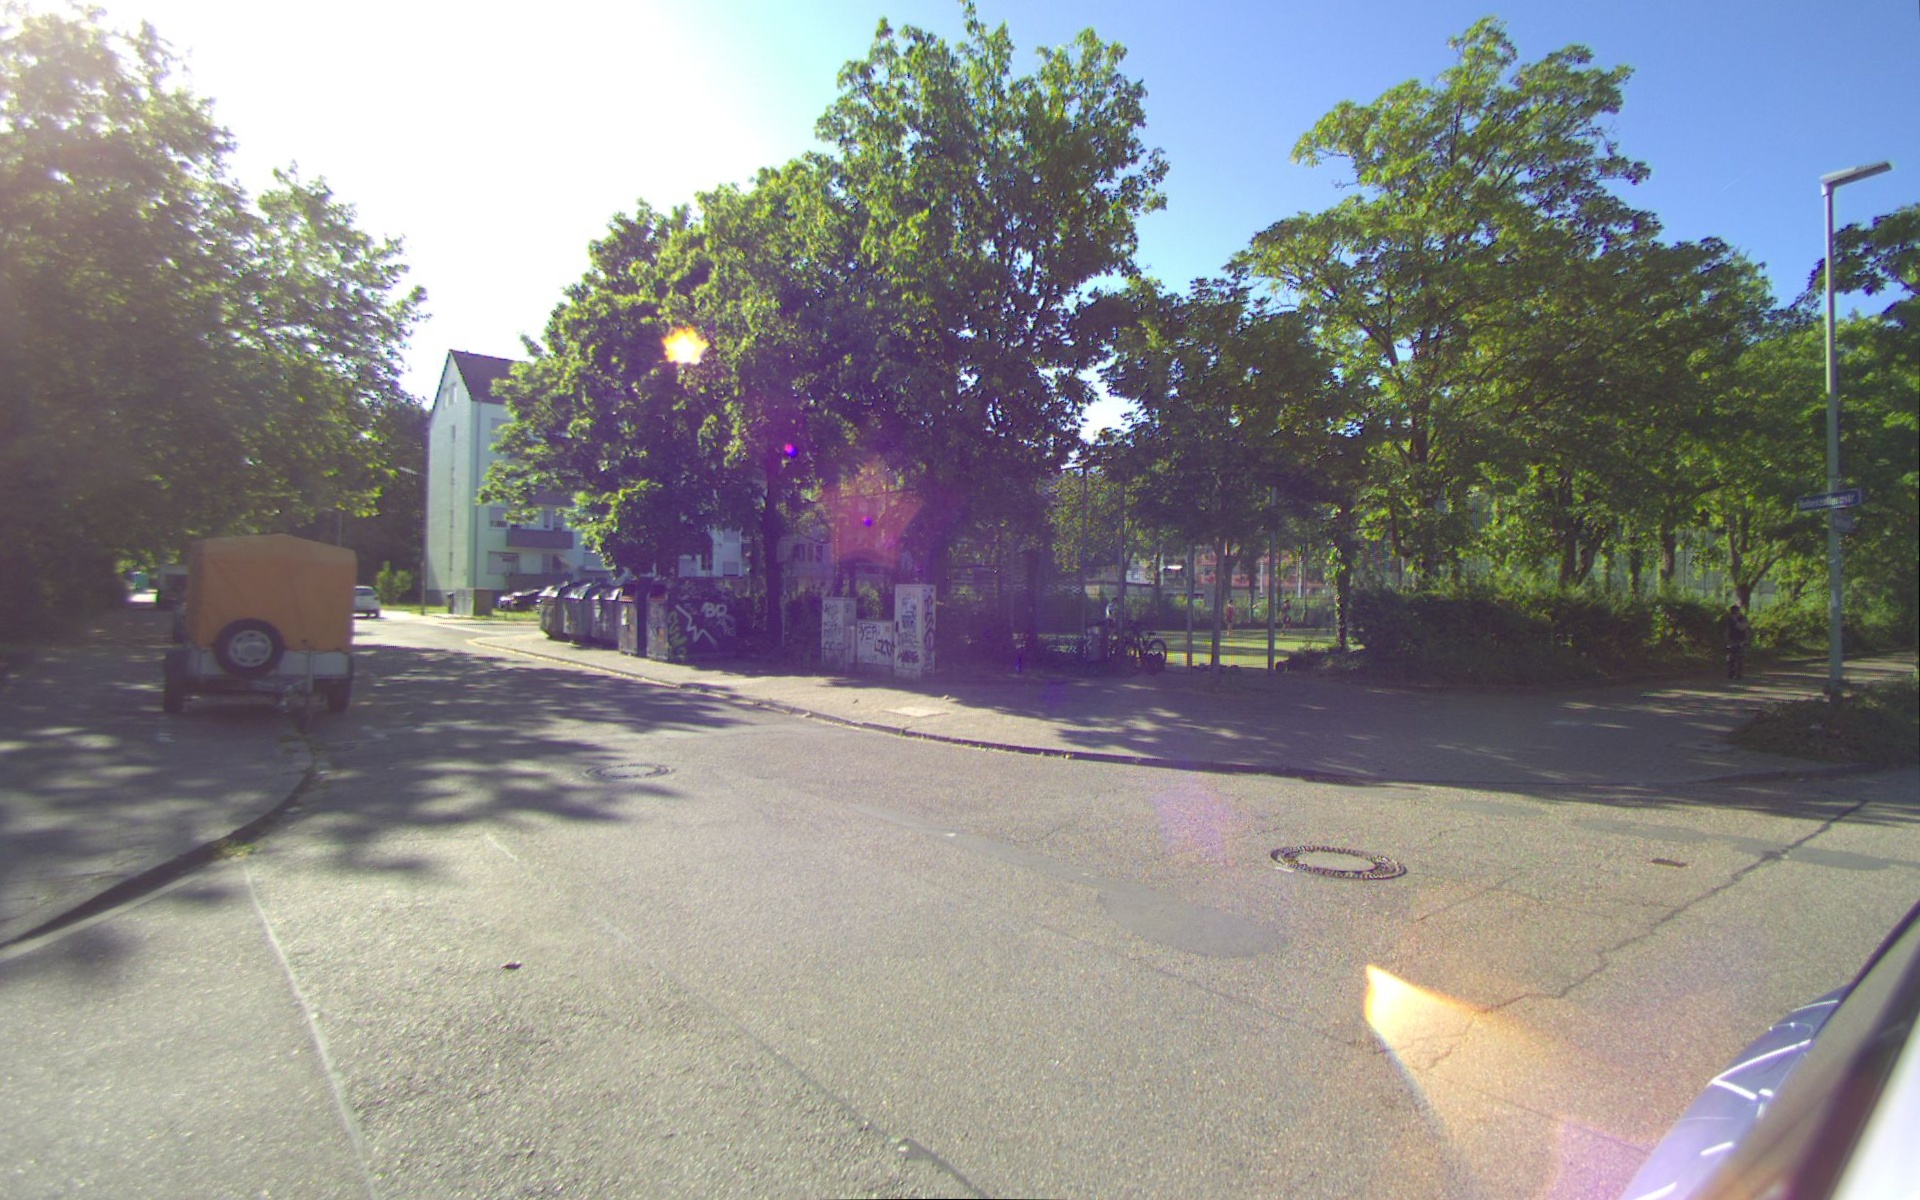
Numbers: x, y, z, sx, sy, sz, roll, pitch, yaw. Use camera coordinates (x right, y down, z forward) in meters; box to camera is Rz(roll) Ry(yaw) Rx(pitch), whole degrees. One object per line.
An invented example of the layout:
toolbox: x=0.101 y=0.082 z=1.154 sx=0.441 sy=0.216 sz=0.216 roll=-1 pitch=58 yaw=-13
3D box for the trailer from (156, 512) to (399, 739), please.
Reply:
trailer: x=-8.070 y=0.228 z=11.797 sx=1.942 sy=2.146 sz=4.071 roll=3 pitch=-1 yaw=-39

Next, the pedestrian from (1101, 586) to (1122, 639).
pedestrian: x=4.489 y=0.361 z=29.957 sx=0.422 sy=1.555 sz=0.436 roll=2 pitch=-1 yaw=-43

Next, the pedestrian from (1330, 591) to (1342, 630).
pedestrian: x=15.325 y=0.435 z=41.246 sx=0.395 sy=1.555 sz=0.317 roll=2 pitch=-1 yaw=-43

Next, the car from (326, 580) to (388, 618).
car: x=-28.250 y=-0.089 z=47.347 sx=2.029 sy=1.671 sz=3.998 roll=-2 pitch=2 yaw=-37

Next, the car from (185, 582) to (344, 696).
car: x=-10.976 y=0.495 z=15.870 sx=1.855 sy=1.531 sz=3.928 roll=0 pitch=1 yaw=-37

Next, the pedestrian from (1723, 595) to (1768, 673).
pedestrian: x=17.328 y=0.739 z=22.326 sx=0.629 sy=1.659 sz=0.642 roll=2 pitch=-1 yaw=-36

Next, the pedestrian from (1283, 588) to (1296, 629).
pedestrian: x=12.764 y=0.327 z=39.232 sx=0.387 sy=1.555 sz=0.319 roll=2 pitch=-1 yaw=-43

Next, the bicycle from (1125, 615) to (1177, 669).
bicycle: x=3.519 y=0.771 z=18.683 sx=0.890 sy=0.970 sz=0.294 roll=1 pitch=0 yaw=3

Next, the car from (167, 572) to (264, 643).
car: x=-19.511 y=0.172 z=26.518 sx=1.839 sy=1.672 sz=3.998 roll=3 pitch=-1 yaw=-37

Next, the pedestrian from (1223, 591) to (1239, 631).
pedestrian: x=10.632 y=0.449 z=39.714 sx=0.422 sy=1.555 sz=0.436 roll=2 pitch=-1 yaw=-43
